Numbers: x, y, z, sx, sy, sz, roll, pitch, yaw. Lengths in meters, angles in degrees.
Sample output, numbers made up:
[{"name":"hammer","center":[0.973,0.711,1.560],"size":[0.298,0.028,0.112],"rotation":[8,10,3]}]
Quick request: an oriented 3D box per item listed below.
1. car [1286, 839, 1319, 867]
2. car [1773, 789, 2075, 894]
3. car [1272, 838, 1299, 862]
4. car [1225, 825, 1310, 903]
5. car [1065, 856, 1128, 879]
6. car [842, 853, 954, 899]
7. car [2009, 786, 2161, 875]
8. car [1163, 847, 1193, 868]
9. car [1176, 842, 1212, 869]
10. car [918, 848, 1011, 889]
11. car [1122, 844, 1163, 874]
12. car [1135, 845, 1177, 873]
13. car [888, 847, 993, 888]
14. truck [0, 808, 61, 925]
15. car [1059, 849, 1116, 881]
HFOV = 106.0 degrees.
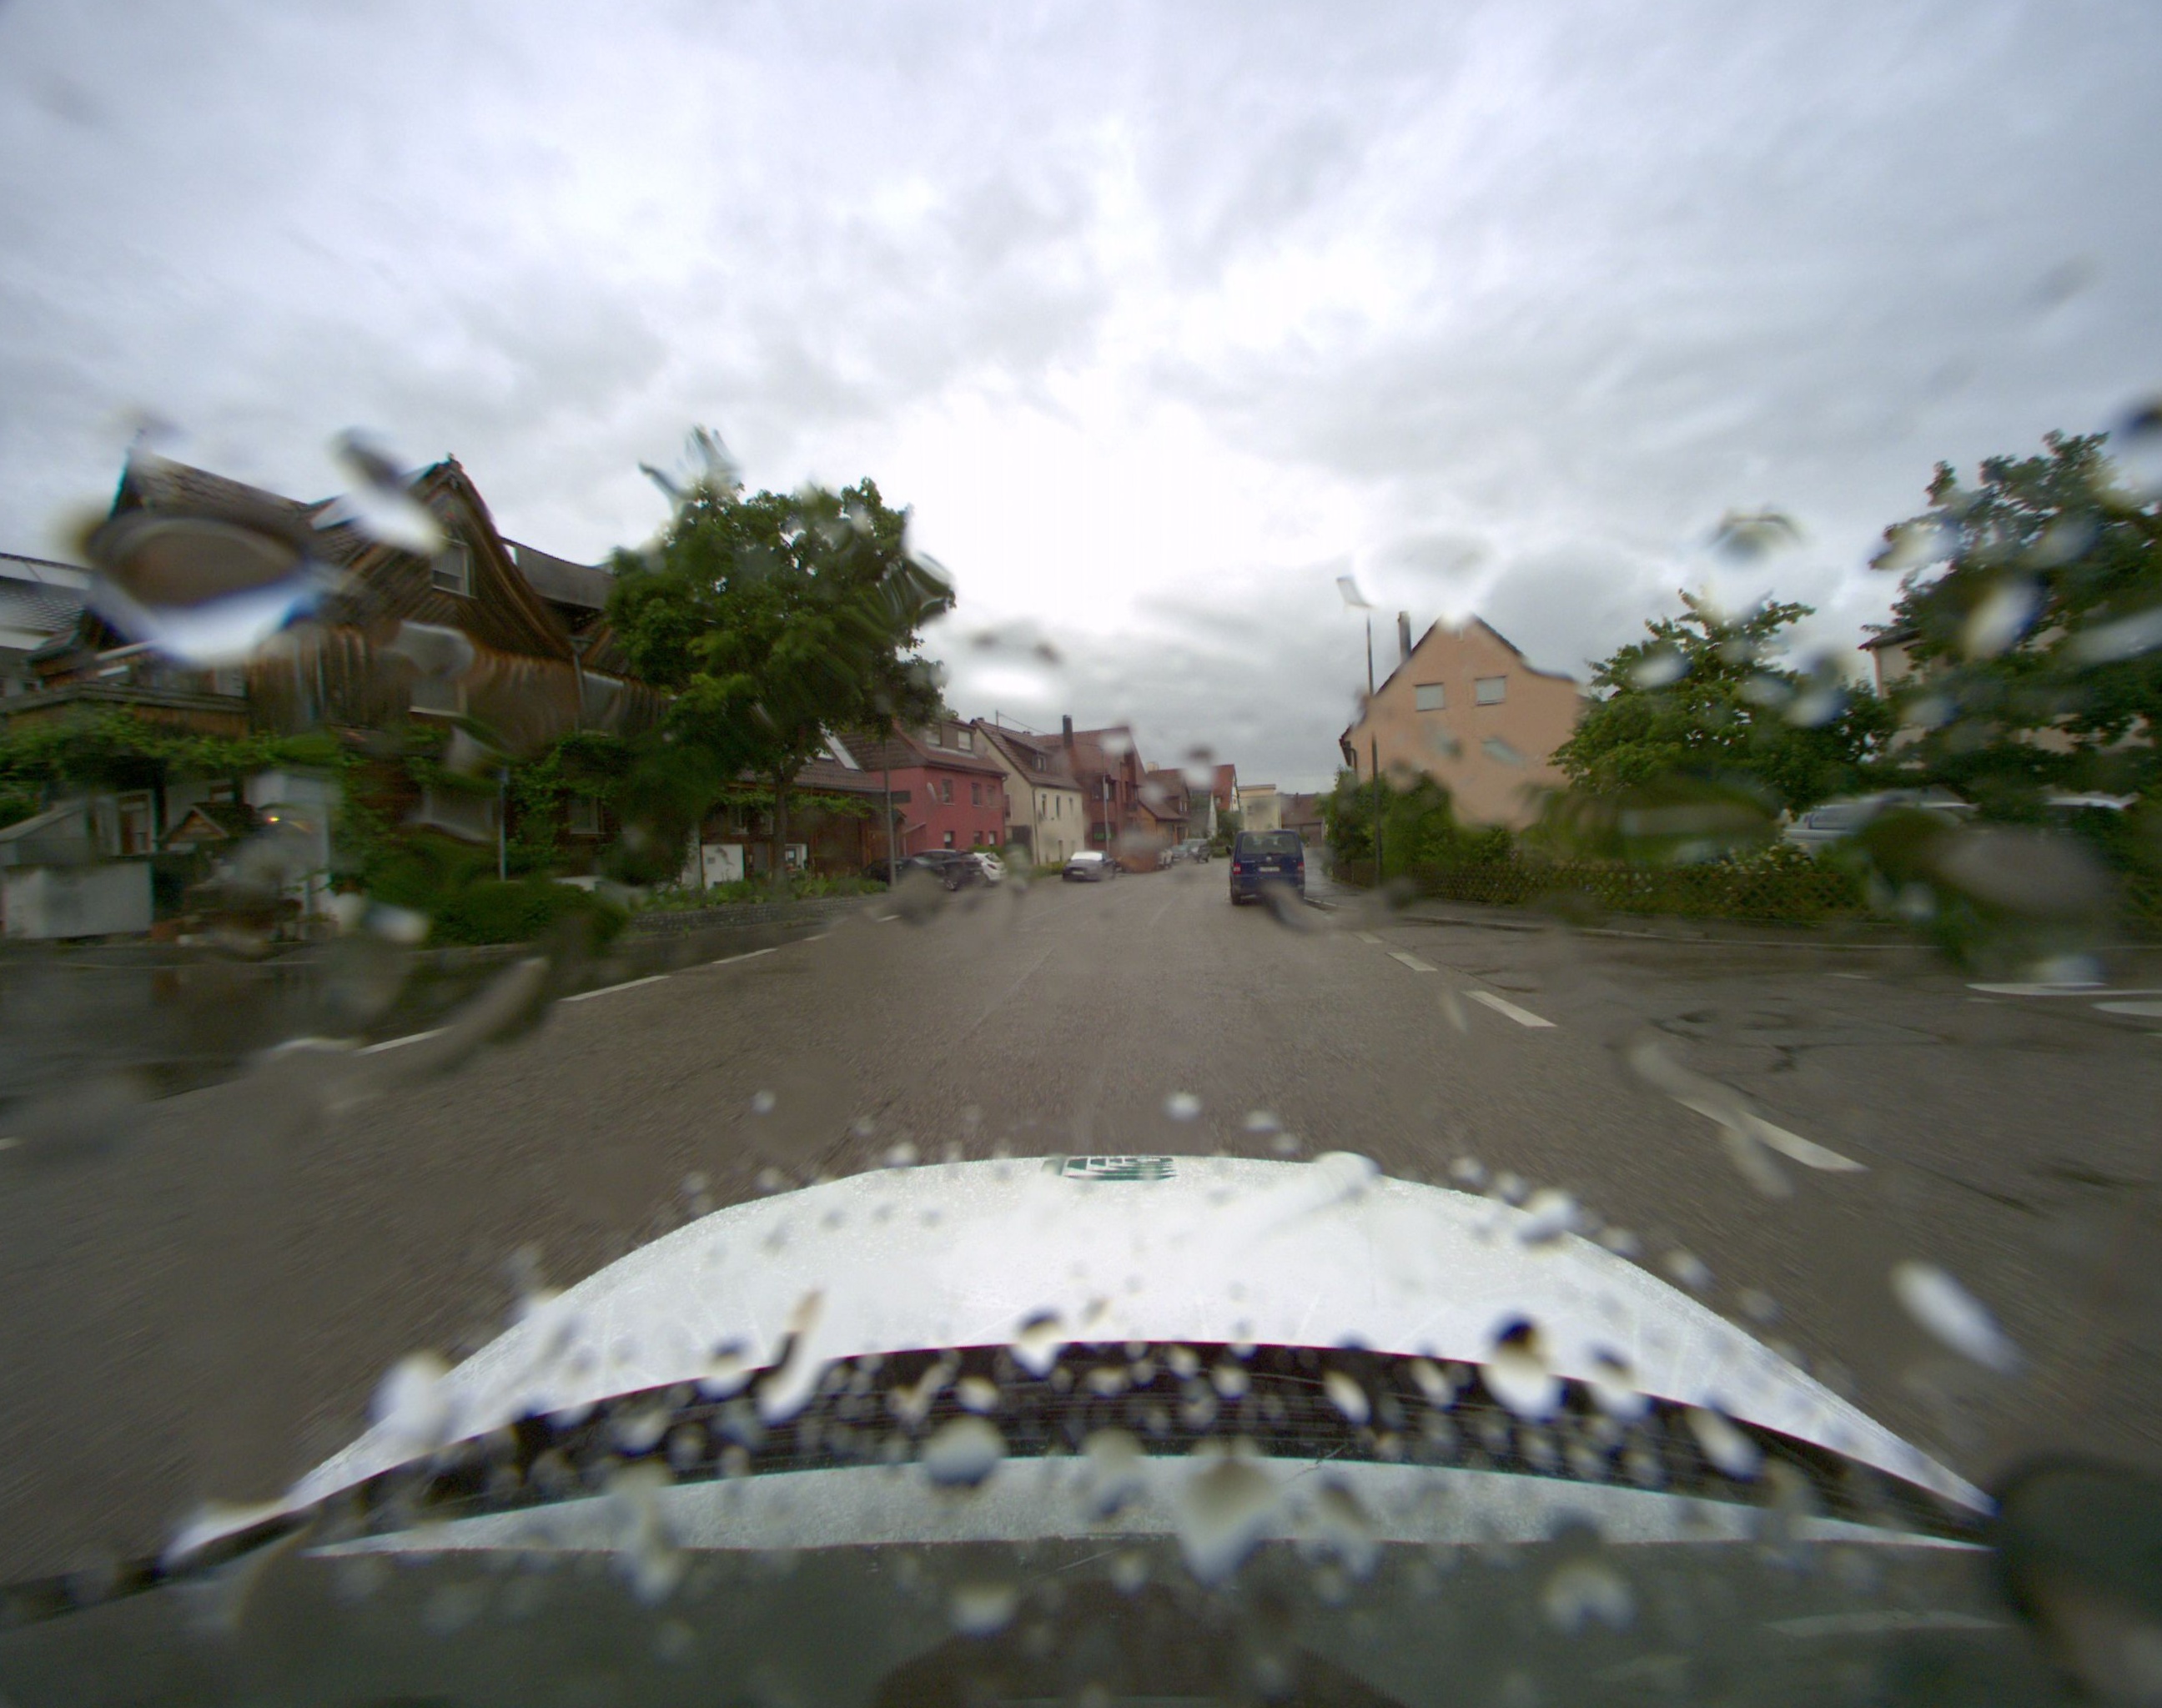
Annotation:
[{"name":"car","center":[13.101,-0.058,48.256],"size":[1.790,1.595,4.629],"rotation":[0,0,14]},{"name":"car","center":[19.413,-0.294,19.217],"size":[1.937,2.083,5.190],"rotation":[-1,1,3]},{"name":"car","center":[16.031,-0.325,63.771],"size":[1.735,1.709,4.018],"rotation":[-2,0,17]},{"name":"car","center":[5.051,0.235,22.631],"size":[1.919,1.902,4.805],"rotation":[-1,0,9]},{"name":"car","center":[1.143,0.995,59.785],"size":[4.135,1.403,1.799],"rotation":[-3,0,23]},{"name":"car","center":[-6.475,0.764,28.897],"size":[3.418,1.418,1.640],"rotation":[-3,0,18]},{"name":"car","center":[23.137,-0.512,17.819],"size":[1.648,1.818,3.646],"rotation":[-1,0,5]},{"name":"car","center":[7.372,0.234,61.467],"size":[1.566,1.497,3.583],"rotation":[-3,0,17]},{"name":"car","center":[9.266,0.109,66.217],"size":[1.806,2.013,5.240],"rotation":[-3,0,19]},{"name":"car","center":[-4.849,0.595,34.006],"size":[3.433,1.479,1.598],"rotation":[-3,0,18]},{"name":"car","center":[3.635,0.272,47.668],"size":[1.593,1.617,3.291],"rotation":[-3,0,17]},{"name":"car","center":[4.882,0.272,52.345],"size":[1.751,1.619,4.677],"rotation":[-3,0,16]},{"name":"car","center":[-5.437,0.501,31.621],"size":[3.546,1.506,1.865],"rotation":[0,1,20]},{"name":"truck","center":[-25.147,0.332,17.322],"size":[1.761,2.613,3.863],"rotation":[-3,0,18]},{"name":"car","center":[0.376,0.480,37.878],"size":[1.614,1.355,4.128],"rotation":[-1,0,15]}]
